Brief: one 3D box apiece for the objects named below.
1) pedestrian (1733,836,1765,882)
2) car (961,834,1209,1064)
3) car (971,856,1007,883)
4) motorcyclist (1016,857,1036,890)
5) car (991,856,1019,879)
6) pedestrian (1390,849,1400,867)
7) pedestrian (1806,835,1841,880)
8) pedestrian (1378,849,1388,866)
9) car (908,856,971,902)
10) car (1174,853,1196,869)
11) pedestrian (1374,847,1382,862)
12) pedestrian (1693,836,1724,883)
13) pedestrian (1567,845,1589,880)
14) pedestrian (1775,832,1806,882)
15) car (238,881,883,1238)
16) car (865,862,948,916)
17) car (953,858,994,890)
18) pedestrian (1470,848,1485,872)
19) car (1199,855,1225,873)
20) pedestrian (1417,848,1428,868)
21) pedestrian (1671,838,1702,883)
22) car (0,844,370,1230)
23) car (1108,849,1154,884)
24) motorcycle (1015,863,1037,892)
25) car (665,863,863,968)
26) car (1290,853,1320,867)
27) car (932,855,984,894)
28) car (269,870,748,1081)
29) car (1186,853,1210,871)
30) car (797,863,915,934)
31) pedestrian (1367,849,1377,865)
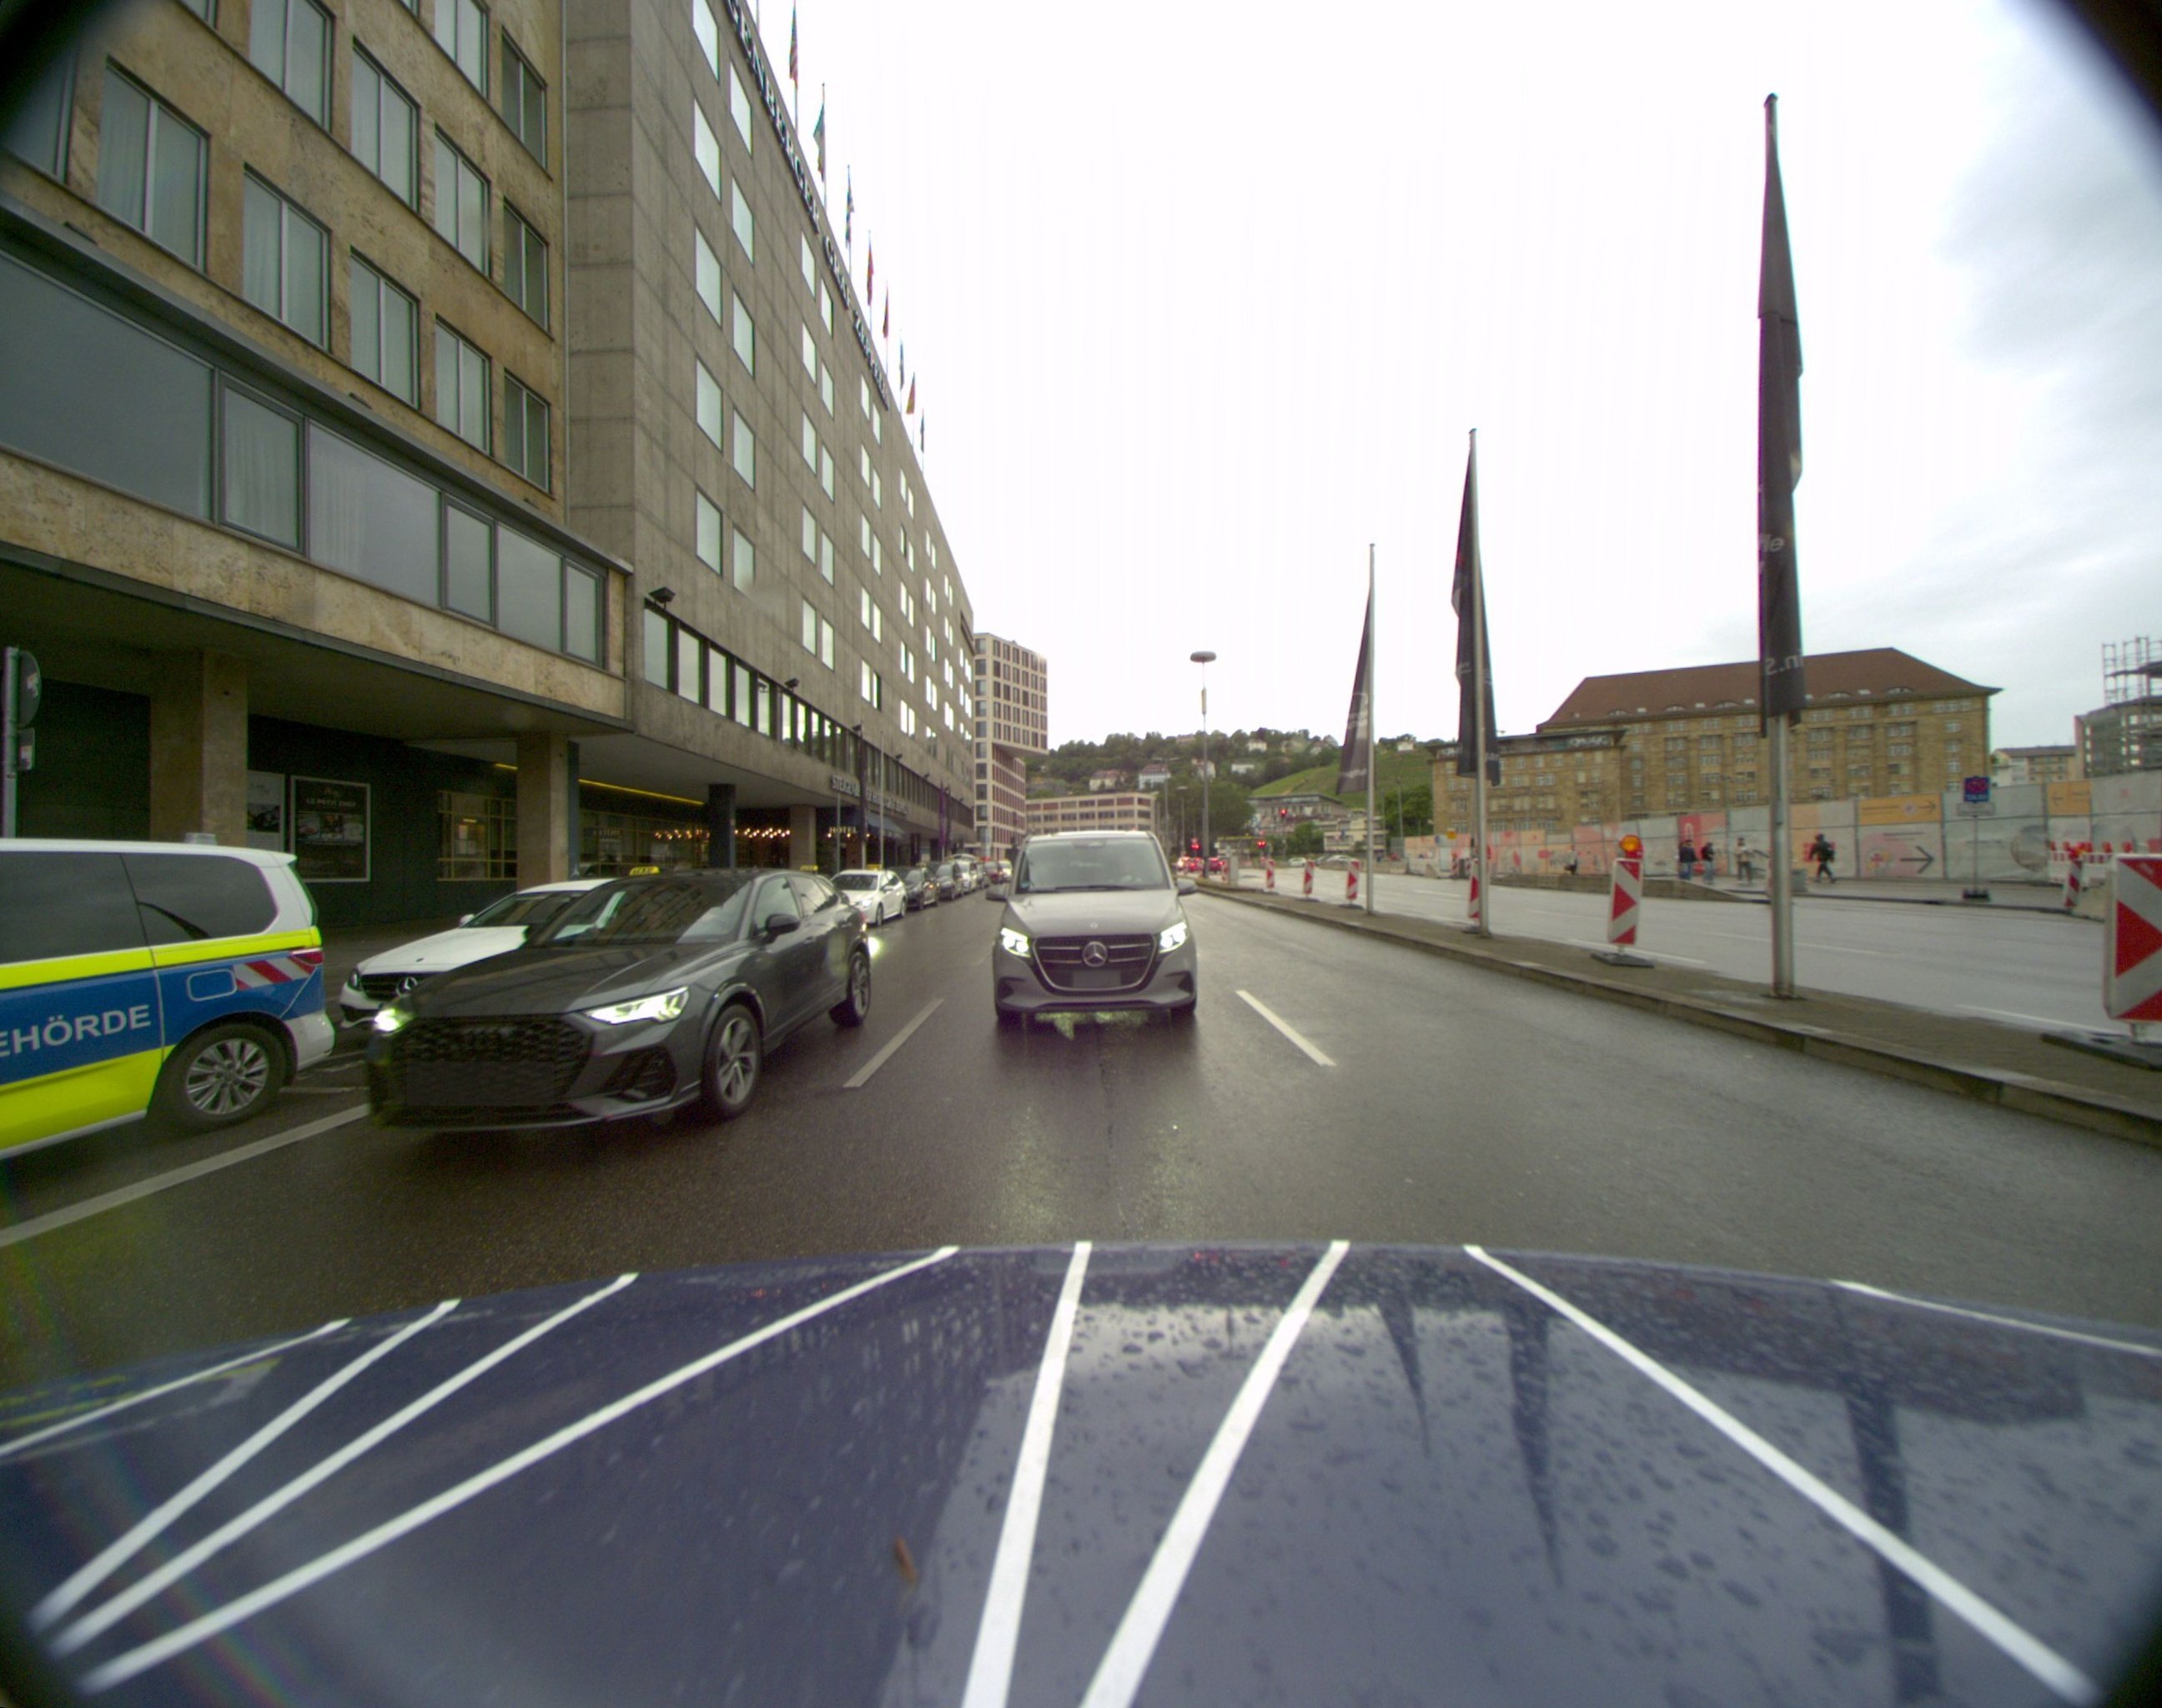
[{"bbox_3d":[25.459,0.195,28.968,0.714,1.734,0.564,-2,1,21],"label":"pedestrian"},{"bbox_3d":[0.073,0.776,8.905,1.998,1.849,5.160,-2,0,1],"label":"car"},{"bbox_3d":[-5.872,0.955,48.901,1.731,1.604,4.001,-2,1,0],"label":"car"},{"bbox_3d":[-2.649,0.924,36.719,0.861,1.519,0.844,-2,1,1],"label":"motorcyclist"},{"bbox_3d":[-5.904,1.012,59.221,1.731,1.604,4.001,-2,1,0],"label":"car"},{"bbox_3d":[29.143,0.357,70.505,0.715,1.606,0.544,-2,1,1],"label":"pedestrian"},{"bbox_3d":[27.353,0.127,27.989,0.715,1.606,0.544,-2,1,1],"label":"pedestrian"},{"bbox_3d":[28.559,0.313,71.825,0.715,1.606,0.544,-2,1,1],"label":"pedestrian"},{"bbox_3d":[-6.052,1.027,33.018,1.731,1.732,4.814,-2,0,0],"label":"car"},{"bbox_3d":[11.827,0.805,86.506,1.785,1.684,3.916,-2,1,-1],"label":"car"},{"bbox_3d":[32.677,0.058,83.591,0.715,1.606,0.544,-2,1,1],"label":"pedestrian"},{"bbox_3d":[25.006,0.224,30.276,0.714,1.825,0.718,-2,1,19],"label":"pedestrian"},{"bbox_3d":[26.291,0.426,40.208,0.664,1.825,0.720,-2,1,1],"label":"pedestrian"},{"bbox_3d":[26.191,0.109,28.055,0.661,1.825,0.556,-2,1,21],"label":"pedestrian"},{"bbox_3d":[-3.112,1.090,5.886,1.883,1.493,4.342,-2,0,1],"label":"car"},{"bbox_3d":[-6.045,1.147,26.846,1.731,1.583,4.814,-2,0,0],"label":"car"},{"bbox_3d":[-6.125,1.103,43.722,1.731,1.604,4.001,-2,1,0],"label":"car"},{"bbox_3d":[26.917,0.421,51.547,0.715,1.606,0.544,-2,1,1],"label":"pedestrian"},{"bbox_3d":[12.464,0.921,72.417,1.785,1.684,3.916,-1,0,0],"label":"car"},{"bbox_3d":[29.055,0.336,64.658,0.715,1.606,0.544,-2,1,1],"label":"pedestrian"},{"bbox_3d":[23.628,0.233,29.666,0.714,1.723,0.718,-2,1,19],"label":"pedestrian"},{"bbox_3d":[-6.323,0.945,3.218,1.879,1.909,4.935,-2,1,0],"label":"car"},{"bbox_3d":[2.303,0.551,36.009,1.860,1.461,4.587,-2,0,1],"label":"car"},{"bbox_3d":[-2.653,1.134,36.767,0.848,1.299,1.965,-2,1,1],"label":"motorcycle"},{"bbox_3d":[-6.075,1.069,15.304,1.879,1.628,4.814,-2,0,0],"label":"car"},{"bbox_3d":[34.676,0.915,117.639,4.194,1.846,1.832,-2,1,6],"label":"car"},{"bbox_3d":[-6.090,0.991,38.215,1.731,1.732,4.814,-2,0,0],"label":"car"},{"bbox_3d":[-6.093,1.115,9.141,1.879,1.628,5.010,-2,0,0],"label":"car"},{"bbox_3d":[12.314,0.834,79.898,1.785,1.684,3.916,-2,1,-1],"label":"car"},{"bbox_3d":[-6.042,1.113,21.032,1.731,1.583,4.814,-2,0,0],"label":"car"},{"bbox_3d":[29.969,0.280,78.264,0.715,1.606,0.544,-2,1,1],"label":"pedestrian"}]
